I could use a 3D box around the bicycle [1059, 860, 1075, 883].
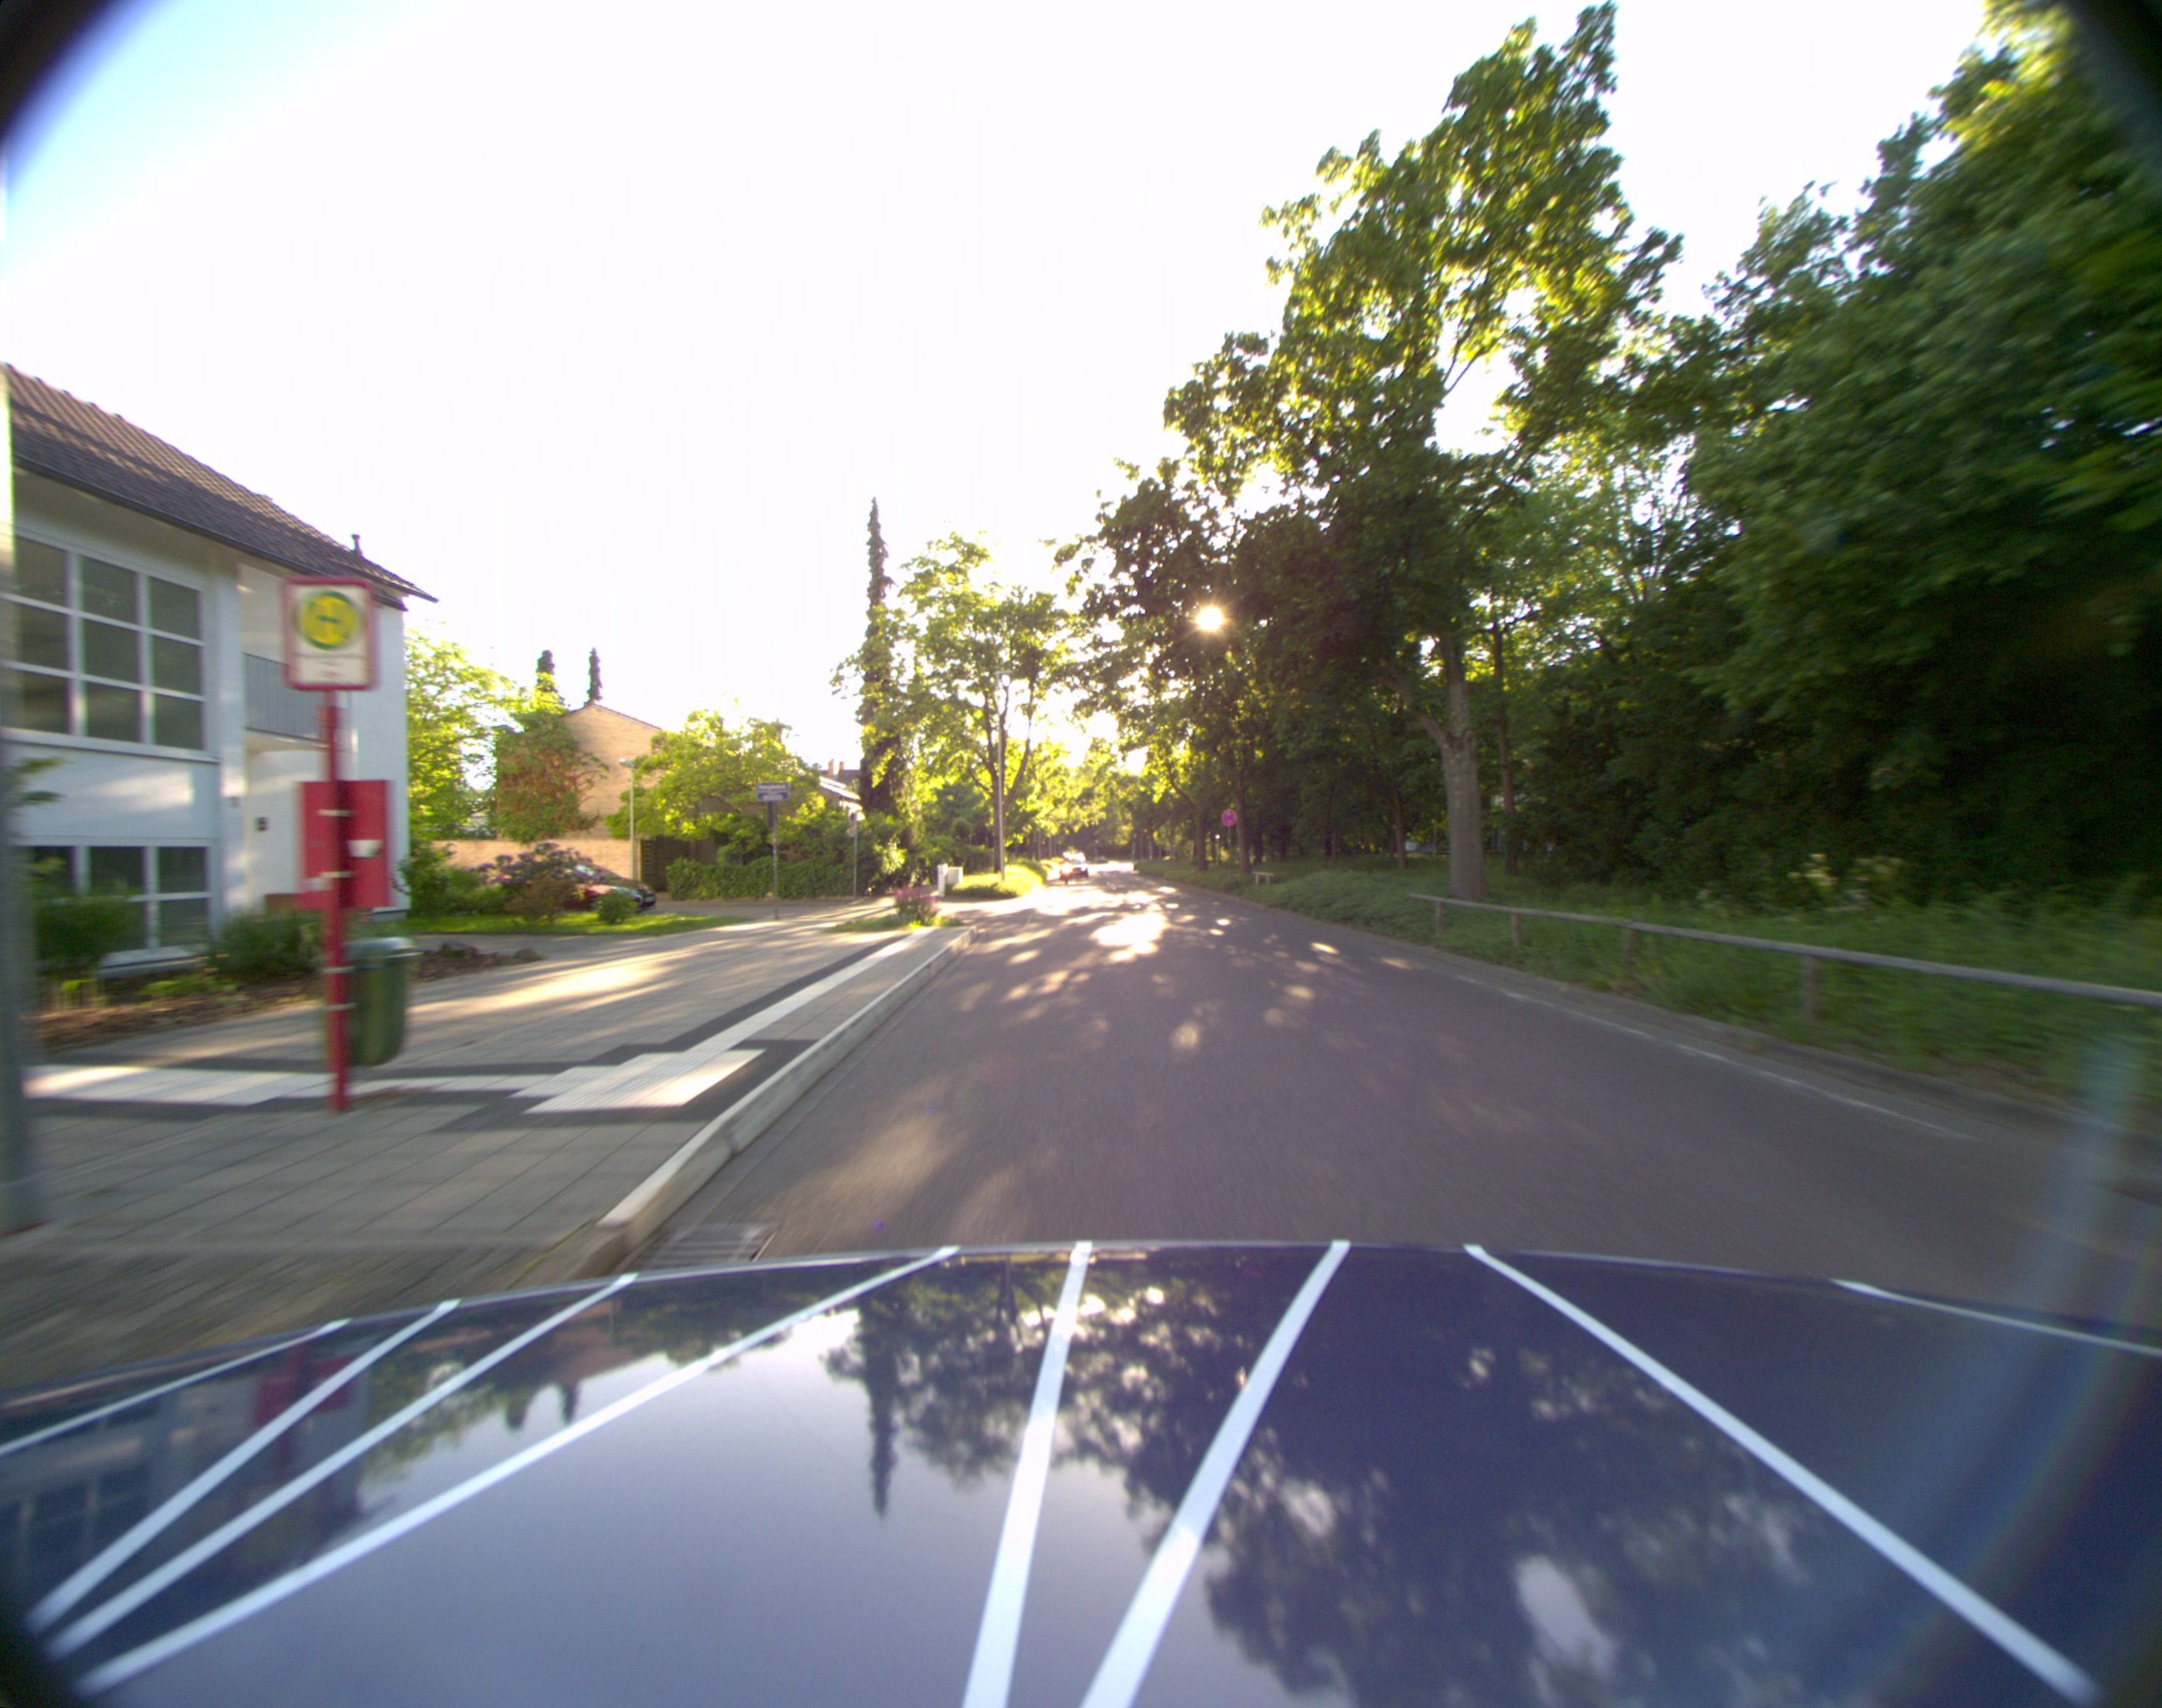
[{"bbox_3d":[-0.760,0.940,41.222,0.829,1.182,2.302,-2,0,-1],"label":"bicycle"}]

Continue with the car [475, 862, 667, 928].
[{"bbox_3d":[-13.124,1.022,19.735,3.742,1.493,1.690,-1,1,-5],"label":"car"}]

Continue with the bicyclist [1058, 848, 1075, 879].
[{"bbox_3d":[-0.780,0.513,41.238,0.819,1.635,0.744,-3,1,-1],"label":"bicyclist"}]
